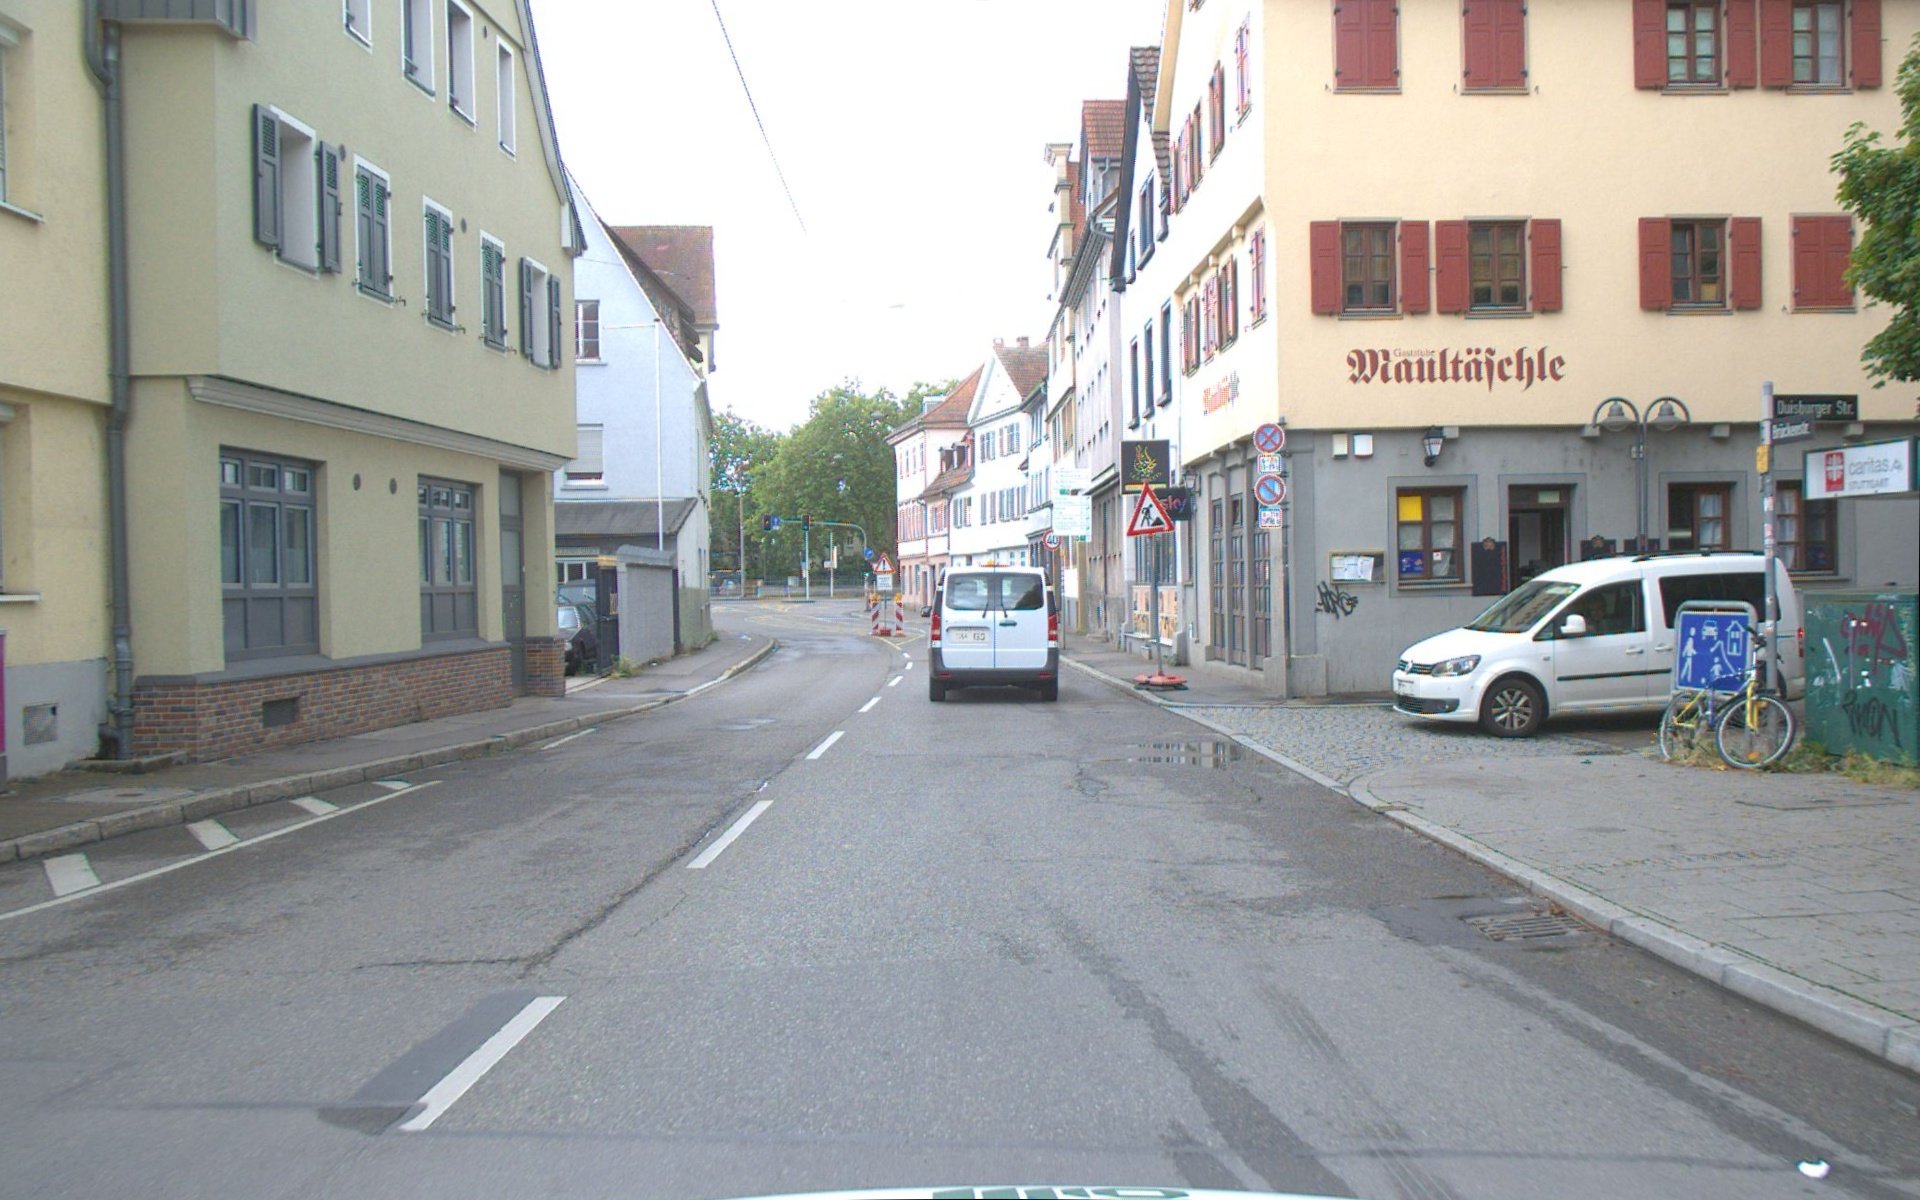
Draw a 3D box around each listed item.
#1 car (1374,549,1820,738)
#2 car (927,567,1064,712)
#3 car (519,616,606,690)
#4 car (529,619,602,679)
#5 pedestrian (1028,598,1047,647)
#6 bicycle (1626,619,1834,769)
[{"bbox_3d":[6.844,0.412,17.985,4.162,1.829,1.845,-1,1,-8],"label":"car"},{"bbox_3d":[0.520,0.552,24.599,1.834,1.945,4.000,-1,0,1],"label":"car"},{"bbox_3d":[-8.103,1.047,33.715,1.617,1.378,3.985,-1,-1,-14],"label":"car"},{"bbox_3d":[-9.533,1.157,39.934,1.617,1.378,3.985,0,-1,-14],"label":"car"},{"bbox_3d":[2.835,0.830,60.592,0.630,1.778,0.562,0,-1,-4],"label":"pedestrian"},{"bbox_3d":[6.207,0.736,13.420,0.492,1.126,1.628,-2,-1,-20],"label":"bicycle"}]
